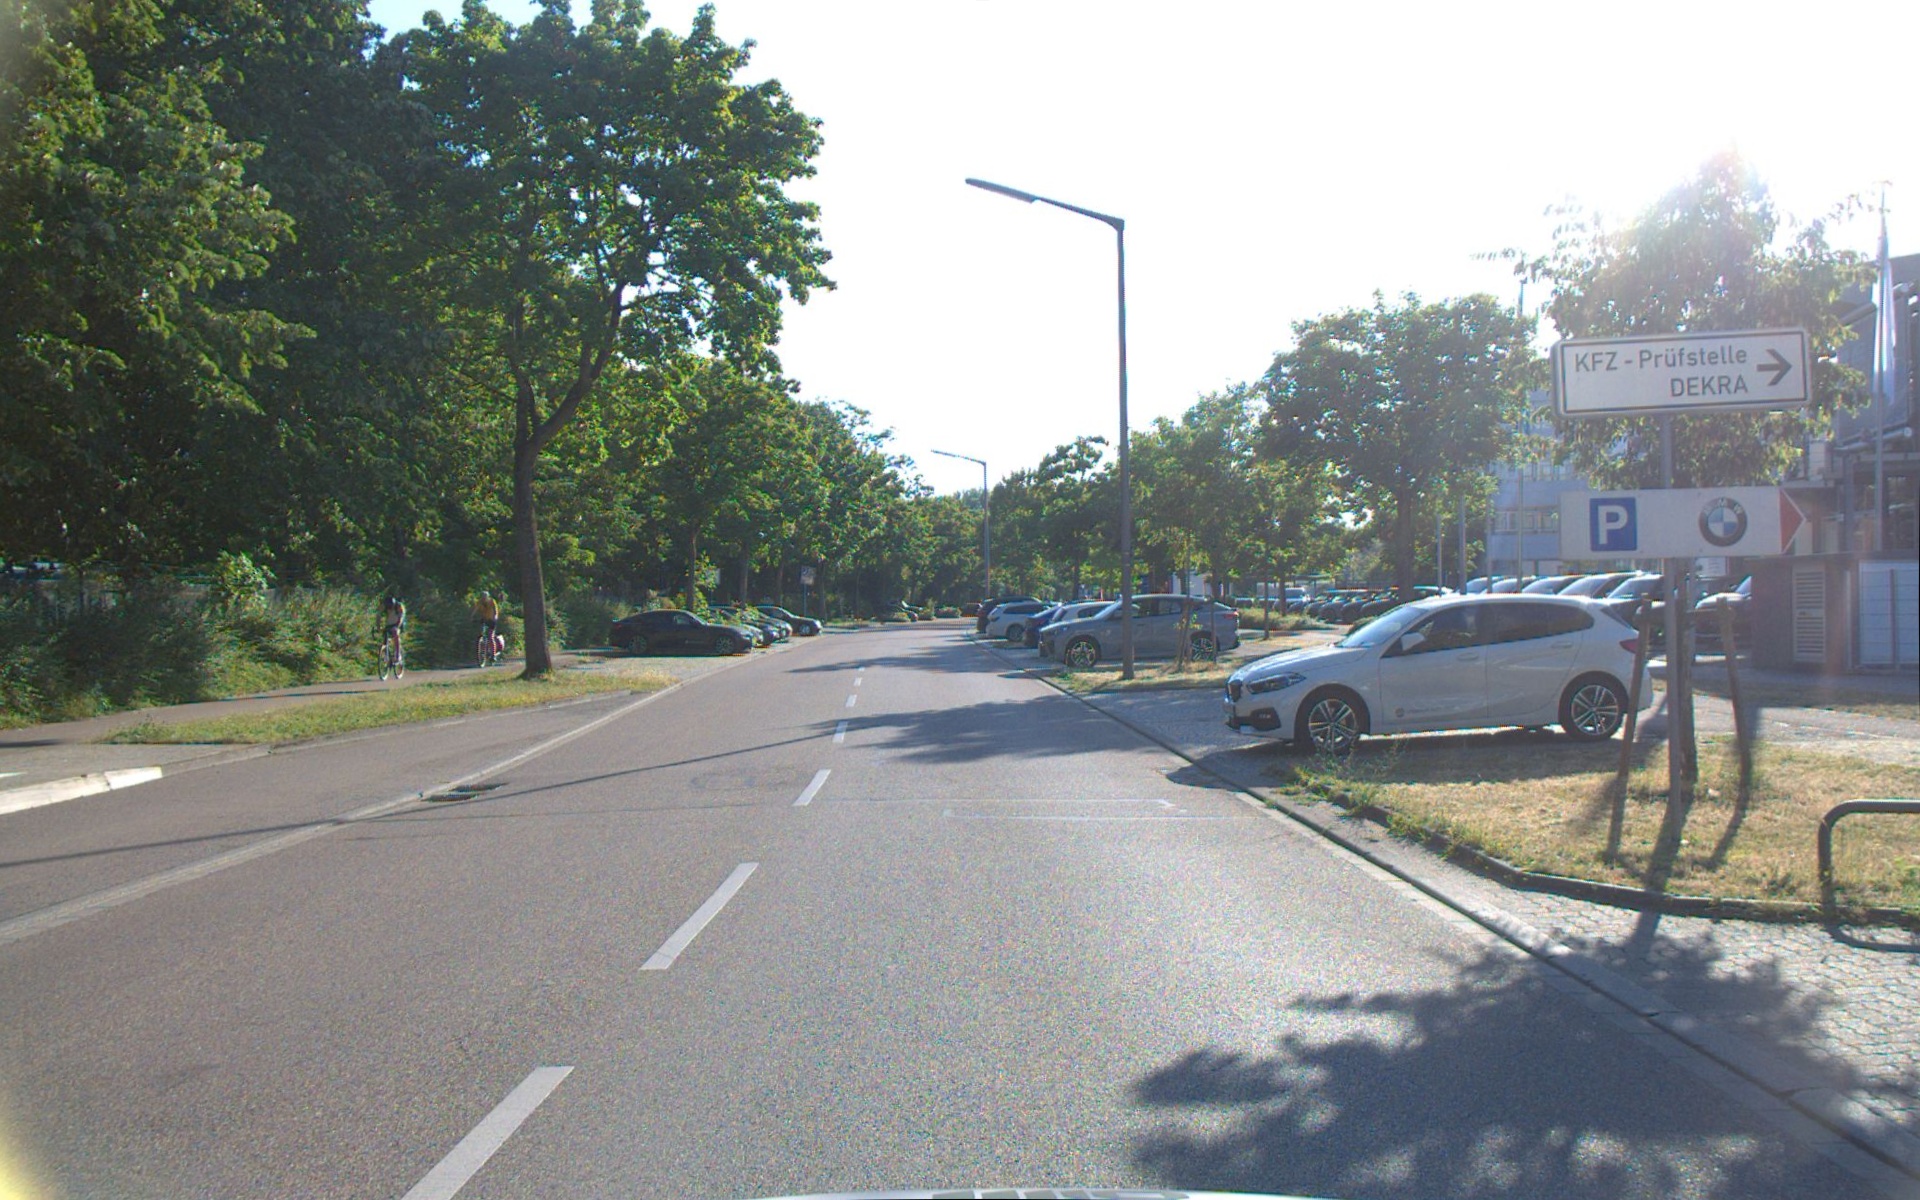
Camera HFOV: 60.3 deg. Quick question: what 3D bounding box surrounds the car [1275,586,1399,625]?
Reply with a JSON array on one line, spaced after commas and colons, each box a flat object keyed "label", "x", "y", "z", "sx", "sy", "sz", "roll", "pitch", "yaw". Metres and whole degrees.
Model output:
[{"label": "car", "x": 15.653, "y": 0.246, "z": 68.866, "sx": 4.708, "sy": 1.489, "sz": 1.986, "roll": -2, "pitch": 0, "yaw": 44}]

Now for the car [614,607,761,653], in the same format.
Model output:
[{"label": "car", "x": -8.924, "y": 0.976, "z": 54.416, "sx": 4.557, "sy": 1.446, "sz": 1.915, "roll": 1, "pitch": 0, "yaw": -4}]

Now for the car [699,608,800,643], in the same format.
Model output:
[{"label": "car", "x": -9.577, "y": 1.157, "z": 75.459, "sx": 4.389, "sy": 1.488, "sz": 1.999, "roll": 1, "pitch": 0, "yaw": -2}]

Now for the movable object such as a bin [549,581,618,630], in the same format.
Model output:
[{"label": "movable object such as a bin", "x": -21.598, "y": 0.319, "z": 94.720, "sx": 2.141, "sy": 2.711, "sz": 4.742, "roll": -1, "pitch": 0, "yaw": -36}]

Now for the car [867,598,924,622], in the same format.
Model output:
[{"label": "car", "x": -5.820, "y": 0.937, "z": 150.350, "sx": 4.898, "sy": 2.055, "sz": 2.176, "roll": -1, "pitch": 0, "yaw": 6}]

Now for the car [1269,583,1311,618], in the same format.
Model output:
[{"label": "car", "x": 18.586, "y": 0.014, "z": 93.041, "sx": 1.988, "sy": 1.860, "sz": 4.980, "roll": -1, "pitch": 0, "yaw": 14}]

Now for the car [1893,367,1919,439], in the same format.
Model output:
[{"label": "car", "x": 26.682, "y": -5.102, "z": 42.908, "sx": 3.902, "sy": 1.695, "sz": 1.789, "roll": 1, "pitch": 1, "yaw": 12}]

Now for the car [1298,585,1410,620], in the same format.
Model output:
[{"label": "car", "x": 18.472, "y": 0.143, "z": 77.619, "sx": 4.700, "sy": 1.489, "sz": 2.036, "roll": -2, "pitch": 0, "yaw": 40}]

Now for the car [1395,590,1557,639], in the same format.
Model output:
[{"label": "car", "x": 18.114, "y": 0.535, "z": 58.188, "sx": 5.103, "sy": 1.599, "sz": 1.986, "roll": -2, "pitch": 0, "yaw": 45}]

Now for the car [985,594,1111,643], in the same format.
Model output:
[{"label": "car", "x": 3.303, "y": 0.690, "z": 62.839, "sx": 4.601, "sy": 1.505, "sz": 2.000, "roll": -3, "pitch": 2, "yaw": -2}]

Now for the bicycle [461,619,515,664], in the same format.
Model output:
[{"label": "bicycle", "x": -11.879, "y": 1.033, "z": 41.658, "sx": 0.750, "sy": 1.057, "sz": 2.217, "roll": -2, "pitch": 0, "yaw": -2}]

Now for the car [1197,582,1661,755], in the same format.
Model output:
[{"label": "car", "x": 4.713, "y": 0.658, "z": 17.079, "sx": 4.115, "sy": 1.469, "sz": 2.087, "roll": -3, "pitch": 0, "yaw": -4}]

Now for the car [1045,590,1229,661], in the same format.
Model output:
[{"label": "car", "x": 4.374, "y": 0.621, "z": 41.351, "sx": 4.288, "sy": 1.505, "sz": 1.999, "roll": -3, "pitch": 0, "yaw": -2}]

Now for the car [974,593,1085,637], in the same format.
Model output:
[{"label": "car", "x": 2.964, "y": 0.627, "z": 70.430, "sx": 4.596, "sy": 1.781, "sz": 2.192, "roll": -1, "pitch": 0, "yaw": 3}]

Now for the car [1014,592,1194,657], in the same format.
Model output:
[{"label": "car", "x": 3.791, "y": 0.639, "z": 44.099, "sx": 4.532, "sy": 1.481, "sz": 1.999, "roll": -3, "pitch": 0, "yaw": -2}]

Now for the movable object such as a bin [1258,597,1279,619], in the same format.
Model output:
[{"label": "movable object such as a bin", "x": 18.186, "y": 0.477, "z": 97.557, "sx": 1.093, "sy": 1.290, "sz": 1.038, "roll": -1, "pitch": 0, "yaw": 5}]

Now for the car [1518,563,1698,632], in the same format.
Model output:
[{"label": "car", "x": 17.310, "y": -0.075, "z": 44.134, "sx": 4.538, "sy": 1.601, "sz": 1.982, "roll": -3, "pitch": 0, "yaw": -28}]

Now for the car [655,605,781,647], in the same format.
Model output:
[{"label": "car", "x": -9.508, "y": 1.020, "z": 65.325, "sx": 4.754, "sy": 1.557, "sz": 1.998, "roll": 1, "pitch": 0, "yaw": -5}]

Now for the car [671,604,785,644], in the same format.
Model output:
[{"label": "car", "x": -9.470, "y": 0.988, "z": 67.850, "sx": 4.389, "sy": 1.557, "sz": 1.999, "roll": 1, "pitch": 0, "yaw": -2}]

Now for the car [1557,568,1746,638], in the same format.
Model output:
[{"label": "car", "x": 17.364, "y": 0.061, "z": 41.510, "sx": 4.539, "sy": 1.601, "sz": 1.981, "roll": -2, "pitch": 0, "yaw": -29}]

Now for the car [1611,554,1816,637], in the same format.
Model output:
[{"label": "car", "x": 17.529, "y": -0.108, "z": 38.459, "sx": 4.539, "sy": 1.695, "sz": 1.981, "roll": -3, "pitch": 0, "yaw": -29}]

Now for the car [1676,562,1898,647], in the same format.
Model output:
[{"label": "car", "x": 17.632, "y": 0.101, "z": 35.236, "sx": 4.537, "sy": 1.695, "sz": 1.982, "roll": 0, "pitch": 0, "yaw": -28}]

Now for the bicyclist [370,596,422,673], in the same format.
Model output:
[{"label": "bicyclist", "x": -11.617, "y": 0.704, "z": 34.095, "sx": 0.716, "sy": 1.557, "sz": 0.951, "roll": -2, "pitch": 0, "yaw": -1}]

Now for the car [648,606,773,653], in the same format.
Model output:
[{"label": "car", "x": -9.052, "y": 1.060, "z": 60.203, "sx": 4.199, "sy": 1.557, "sz": 2.000, "roll": -2, "pitch": 0, "yaw": -1}]

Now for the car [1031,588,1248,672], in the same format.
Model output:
[{"label": "car", "x": 3.964, "y": 0.650, "z": 37.040, "sx": 4.501, "sy": 1.612, "sz": 1.998, "roll": -3, "pitch": 0, "yaw": -5}]

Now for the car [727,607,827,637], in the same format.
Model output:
[{"label": "car", "x": -9.368, "y": 1.116, "z": 85.135, "sx": 4.933, "sy": 1.488, "sz": 1.999, "roll": 1, "pitch": 0, "yaw": -2}]

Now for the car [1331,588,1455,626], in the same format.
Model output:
[{"label": "car", "x": 18.415, "y": 0.301, "z": 70.438, "sx": 4.700, "sy": 1.489, "sz": 1.990, "roll": -2, "pitch": 0, "yaw": 40}]

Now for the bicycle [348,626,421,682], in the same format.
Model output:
[{"label": "bicycle", "x": -11.761, "y": 1.094, "z": 33.875, "sx": 0.750, "sy": 1.057, "sz": 2.217, "roll": -2, "pitch": 0, "yaw": -2}]

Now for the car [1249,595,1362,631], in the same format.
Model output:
[{"label": "car", "x": 15.774, "y": 0.601, "z": 75.603, "sx": 4.700, "sy": 1.489, "sz": 1.990, "roll": -2, "pitch": 0, "yaw": 40}]

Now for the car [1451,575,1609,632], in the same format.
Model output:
[{"label": "car", "x": 17.304, "y": 0.113, "z": 50.174, "sx": 4.539, "sy": 1.601, "sz": 1.981, "roll": -1, "pitch": -1, "yaw": -29}]

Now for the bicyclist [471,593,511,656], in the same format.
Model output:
[{"label": "bicyclist", "x": -11.820, "y": 0.607, "z": 41.716, "sx": 0.716, "sy": 1.557, "sz": 0.951, "roll": -2, "pitch": 0, "yaw": -1}]

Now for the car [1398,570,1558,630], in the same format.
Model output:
[{"label": "car", "x": 16.842, "y": -0.004, "z": 53.746, "sx": 4.662, "sy": 1.720, "sz": 2.388, "roll": -3, "pitch": 0, "yaw": -29}]

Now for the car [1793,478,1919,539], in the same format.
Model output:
[{"label": "car", "x": 27.376, "y": -2.740, "z": 49.641, "sx": 3.902, "sy": 1.695, "sz": 1.789, "roll": 1, "pitch": 1, "yaw": 11}]
